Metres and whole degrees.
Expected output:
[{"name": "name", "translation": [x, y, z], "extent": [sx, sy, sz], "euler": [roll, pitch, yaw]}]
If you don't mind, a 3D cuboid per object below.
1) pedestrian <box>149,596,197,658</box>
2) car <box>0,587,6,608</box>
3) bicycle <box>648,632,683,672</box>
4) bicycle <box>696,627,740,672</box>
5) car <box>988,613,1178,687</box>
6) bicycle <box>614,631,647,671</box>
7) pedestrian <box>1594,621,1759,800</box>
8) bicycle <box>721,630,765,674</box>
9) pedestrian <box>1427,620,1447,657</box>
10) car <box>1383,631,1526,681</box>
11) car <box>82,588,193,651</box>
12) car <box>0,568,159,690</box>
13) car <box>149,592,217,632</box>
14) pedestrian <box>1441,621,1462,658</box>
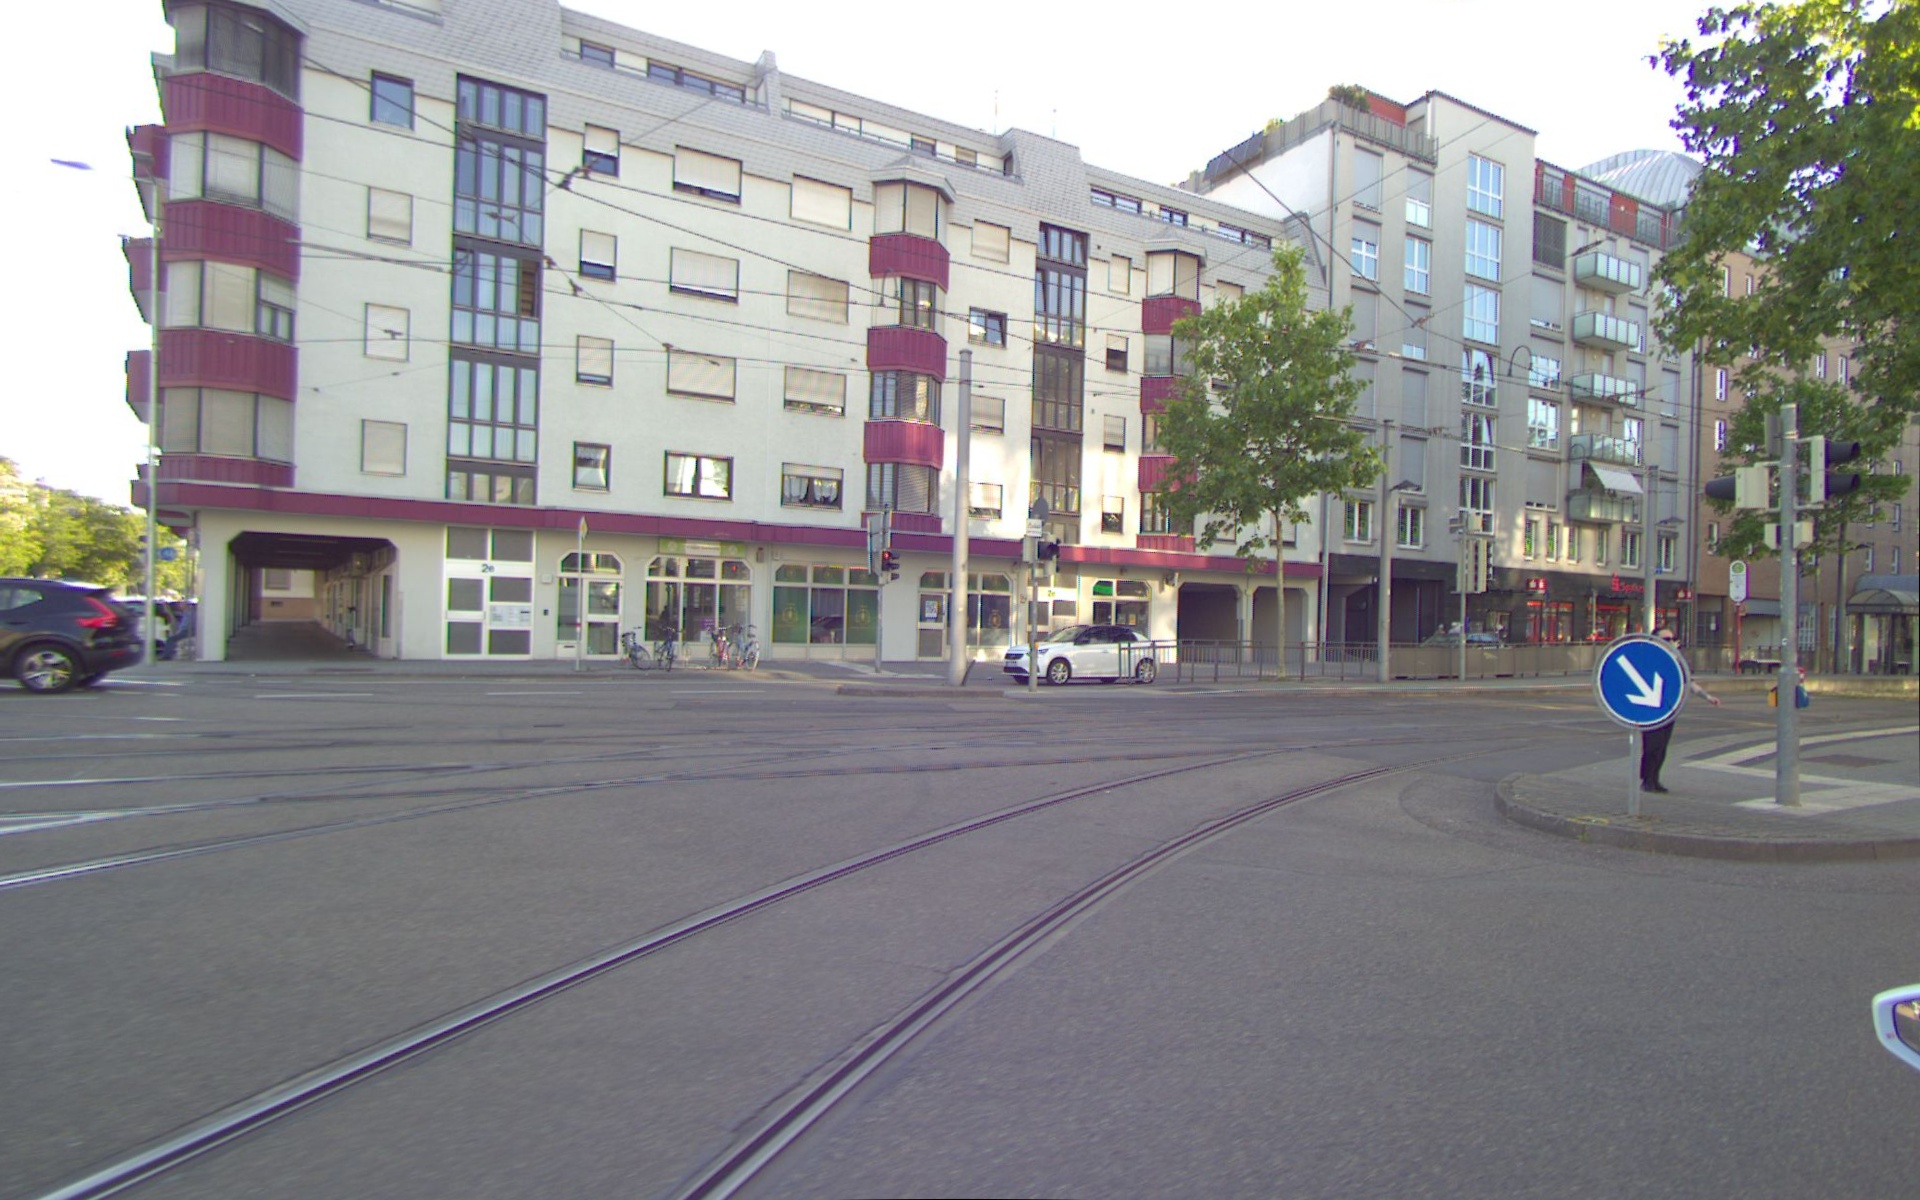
[{"name": "pedestrian", "translation": [-18.428, 0.630, 23.530], "extent": [0.829, 1.402, 0.850], "euler": [2, -1, -38]}, {"name": "car", "translation": [-67.806, -0.238, 68.643], "extent": [3.512, 1.420, 1.684], "euler": [2, 0, -33]}, {"name": "bicycle", "translation": [-7.042, 1.222, 23.963], "extent": [0.546, 0.865, 1.838], "euler": [2, -1, -24]}, {"name": "bicycle", "translation": [-5.943, 1.198, 24.579], "extent": [0.546, 0.998, 1.835], "euler": [2, -1, -29]}, {"name": "car", "translation": [2.984, 1.196, 24.318], "extent": [4.207, 1.616, 1.947], "euler": [2, -1, -28]}, {"name": "bicycle", "translation": [-7.941, 1.212, 24.163], "extent": [0.546, 0.865, 1.838], "euler": [2, -1, -24]}, {"name": "pedestrian", "translation": [6.707, 0.993, 9.444], "extent": [0.684, 1.565, 1.045], "euler": [2, -1, -19]}, {"name": "bicycle", "translation": [-5.362, 1.267, 24.754], "extent": [0.546, 0.998, 1.835], "euler": [2, -1, -29]}, {"name": "pedestrian", "translation": [20.278, 1.632, 42.699], "extent": [0.581, 1.514, 0.532], "euler": [2, -1, -30]}, {"name": "car", "translation": [15.469, 1.762, 31.368], "extent": [4.595, 1.418, 1.693], "euler": [2, -1, -29]}, {"name": "car", "translation": [-22.244, 0.505, 27.304], "extent": [1.980, 1.576, 3.961], "euler": [2, -1, -35]}, {"name": "car", "translation": [-14.384, 0.378, 14.413], "extent": [4.210, 1.695, 1.946], "euler": [2, -1, -30]}, {"name": "car", "translation": [-32.602, 0.479, 42.271], "extent": [1.980, 1.576, 4.539], "euler": [2, -1, -35]}, {"name": "pedestrian", "translation": [20.672, 1.652, 42.257], "extent": [0.581, 1.514, 0.532], "euler": [2, -1, -30]}]
